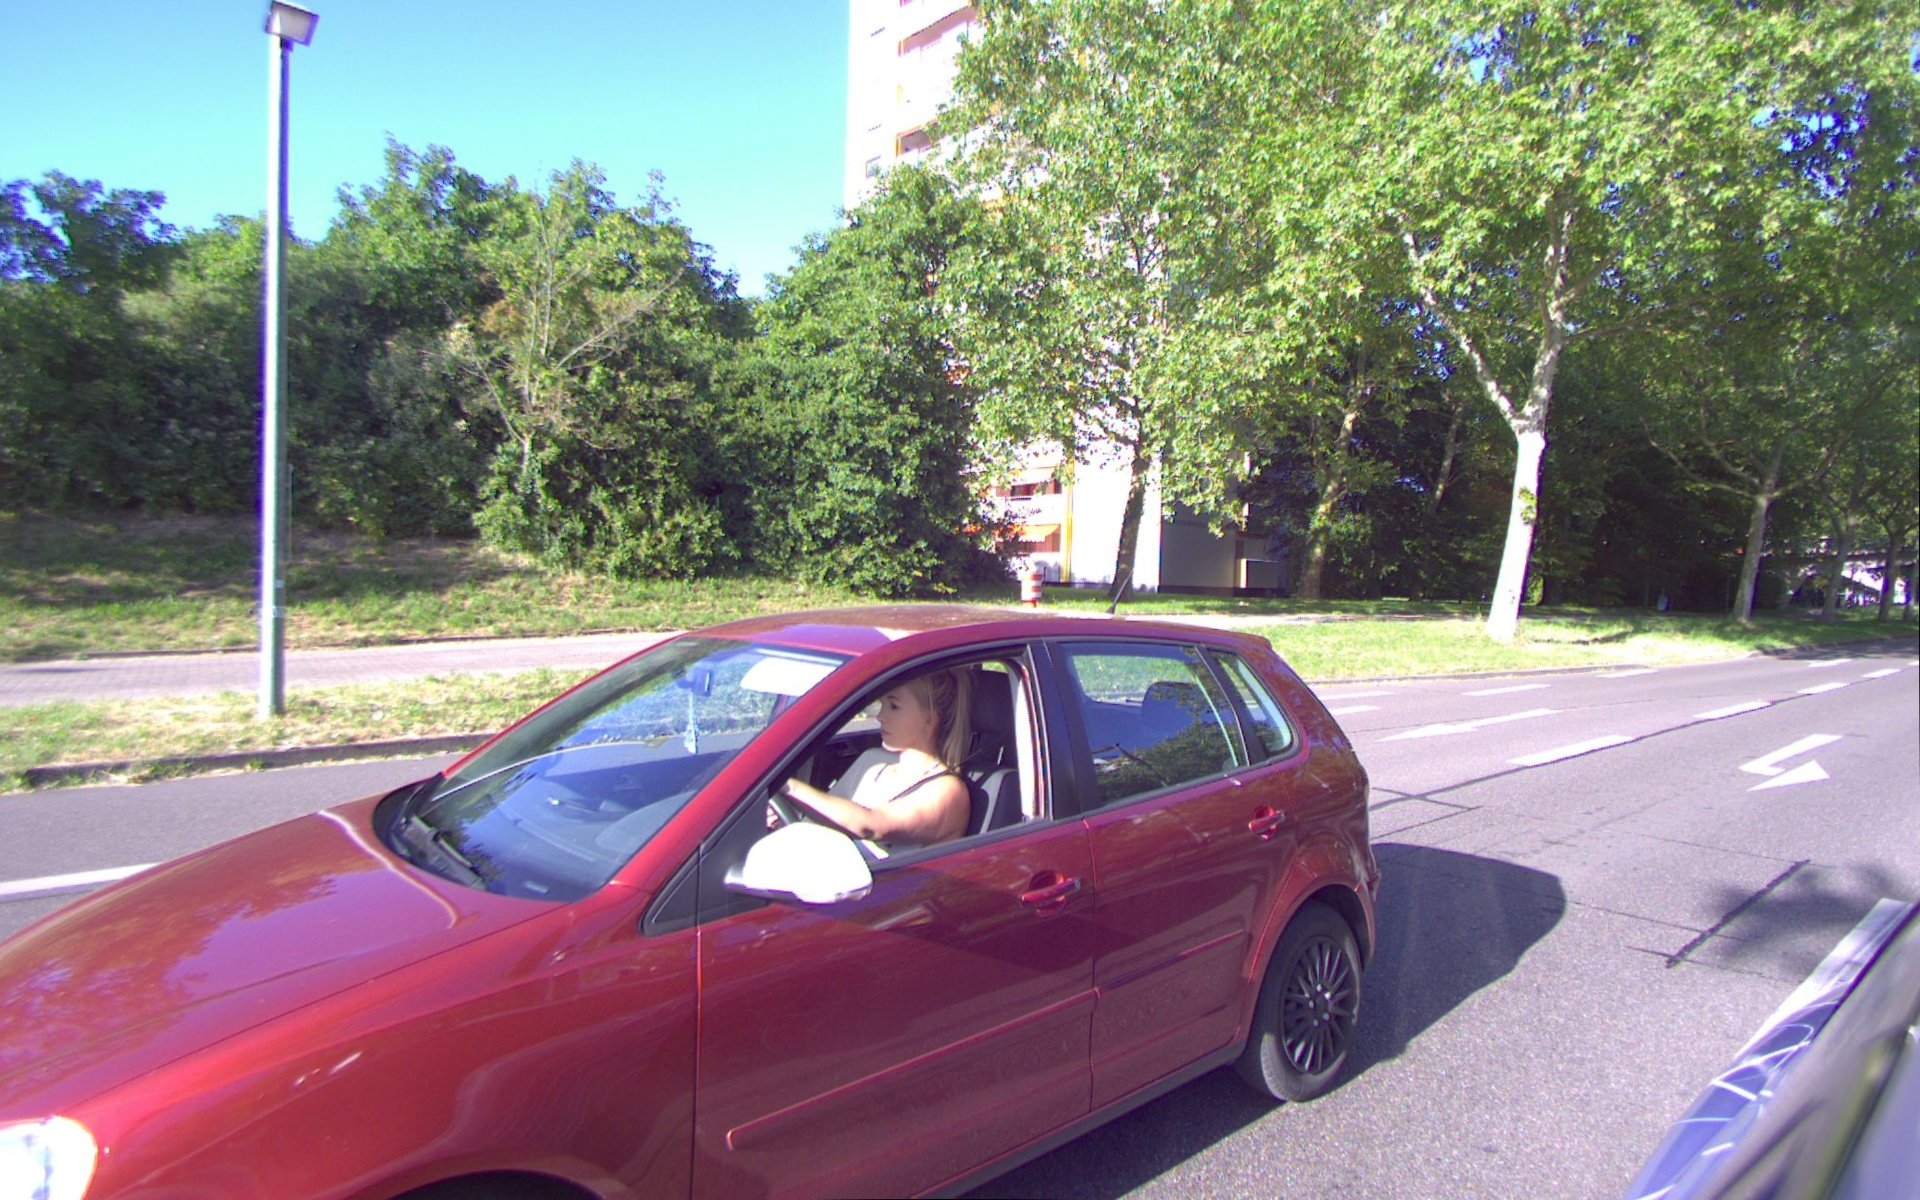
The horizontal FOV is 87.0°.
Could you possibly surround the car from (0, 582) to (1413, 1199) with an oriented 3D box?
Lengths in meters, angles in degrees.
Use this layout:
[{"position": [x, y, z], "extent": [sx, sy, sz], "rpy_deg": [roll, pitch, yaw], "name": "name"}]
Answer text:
[{"position": [-0.461, 0.692, 2.768], "extent": [3.627, 1.434, 1.626], "rpy_deg": [0, 1, -39], "name": "car"}]
